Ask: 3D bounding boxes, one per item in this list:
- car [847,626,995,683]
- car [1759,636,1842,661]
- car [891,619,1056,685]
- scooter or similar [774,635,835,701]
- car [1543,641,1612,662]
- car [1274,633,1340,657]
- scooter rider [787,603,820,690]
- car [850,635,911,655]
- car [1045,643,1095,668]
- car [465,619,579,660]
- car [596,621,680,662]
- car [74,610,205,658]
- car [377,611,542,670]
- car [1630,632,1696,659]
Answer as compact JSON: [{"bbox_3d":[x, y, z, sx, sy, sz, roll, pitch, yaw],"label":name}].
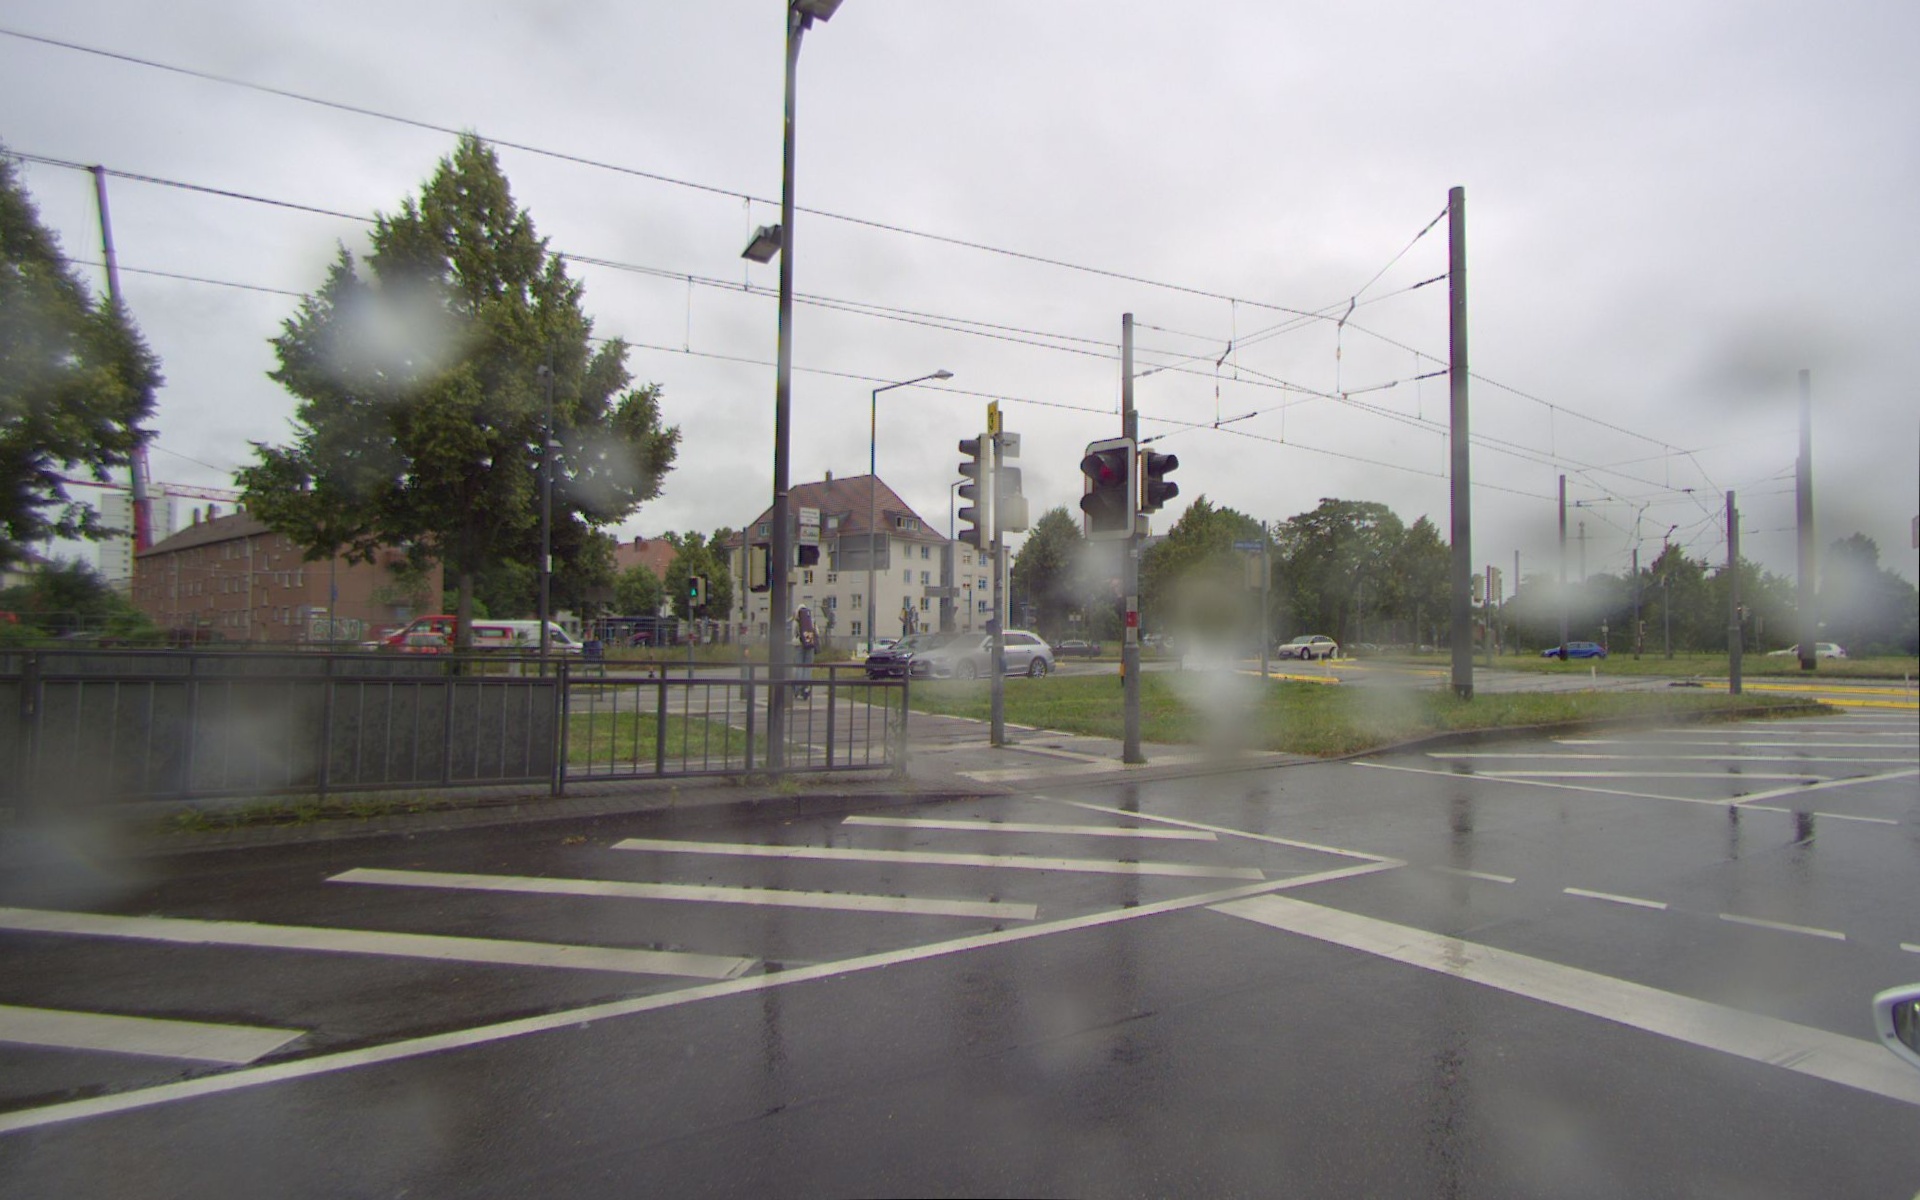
[{"bbox_3d":[-1.150,1.654,31.174,4.371,1.649,1.975,2,-2,-42],"label":"car"},{"bbox_3d":[53.517,3.071,64.018,1.612,1.473,3.936,2,-2,-43],"label":"car"},{"bbox_3d":[0.439,1.373,27.424,4.371,1.649,1.975,2,-2,-42],"label":"car"},{"bbox_3d":[-3.140,1.356,20.203,0.444,1.276,1.571,1,-3,-42],"label":"scooter or similar"},{"bbox_3d":[44.168,3.667,71.973,3.907,1.473,1.624,0,-2,17],"label":"car"},{"bbox_3d":[21.582,2.790,62.437,4.065,1.473,1.610,1,-2,-31],"label":"car"},{"bbox_3d":[-3.165,0.944,20.255,0.431,1.731,0.526,2,-4,-43],"label":"scooter rider"},{"bbox_3d":[-6.128,3.485,77.424,4.536,1.473,1.622,-1,-2,26],"label":"car"},{"bbox_3d":[7.915,3.983,71.904,3.412,1.563,1.623,2,0,10],"label":"car"},{"bbox_3d":[-25.912,2.343,59.628,6.004,2.308,1.617,1,-2,-18],"label":"car"},{"bbox_3d":[-32.377,4.061,100.665,10.793,3.770,2.447,0,-2,39],"label":"car"},{"bbox_3d":[-45.388,1.919,55.761,5.441,2.485,1.980,3,0,-36],"label":"car"},{"bbox_3d":[-22.228,1.810,44.894,6.389,2.502,1.616,1,-2,-20],"label":"car"},{"bbox_3d":[54.546,3.532,78.009,3.921,1.840,1.681,2,0,-1],"label":"car"}]
